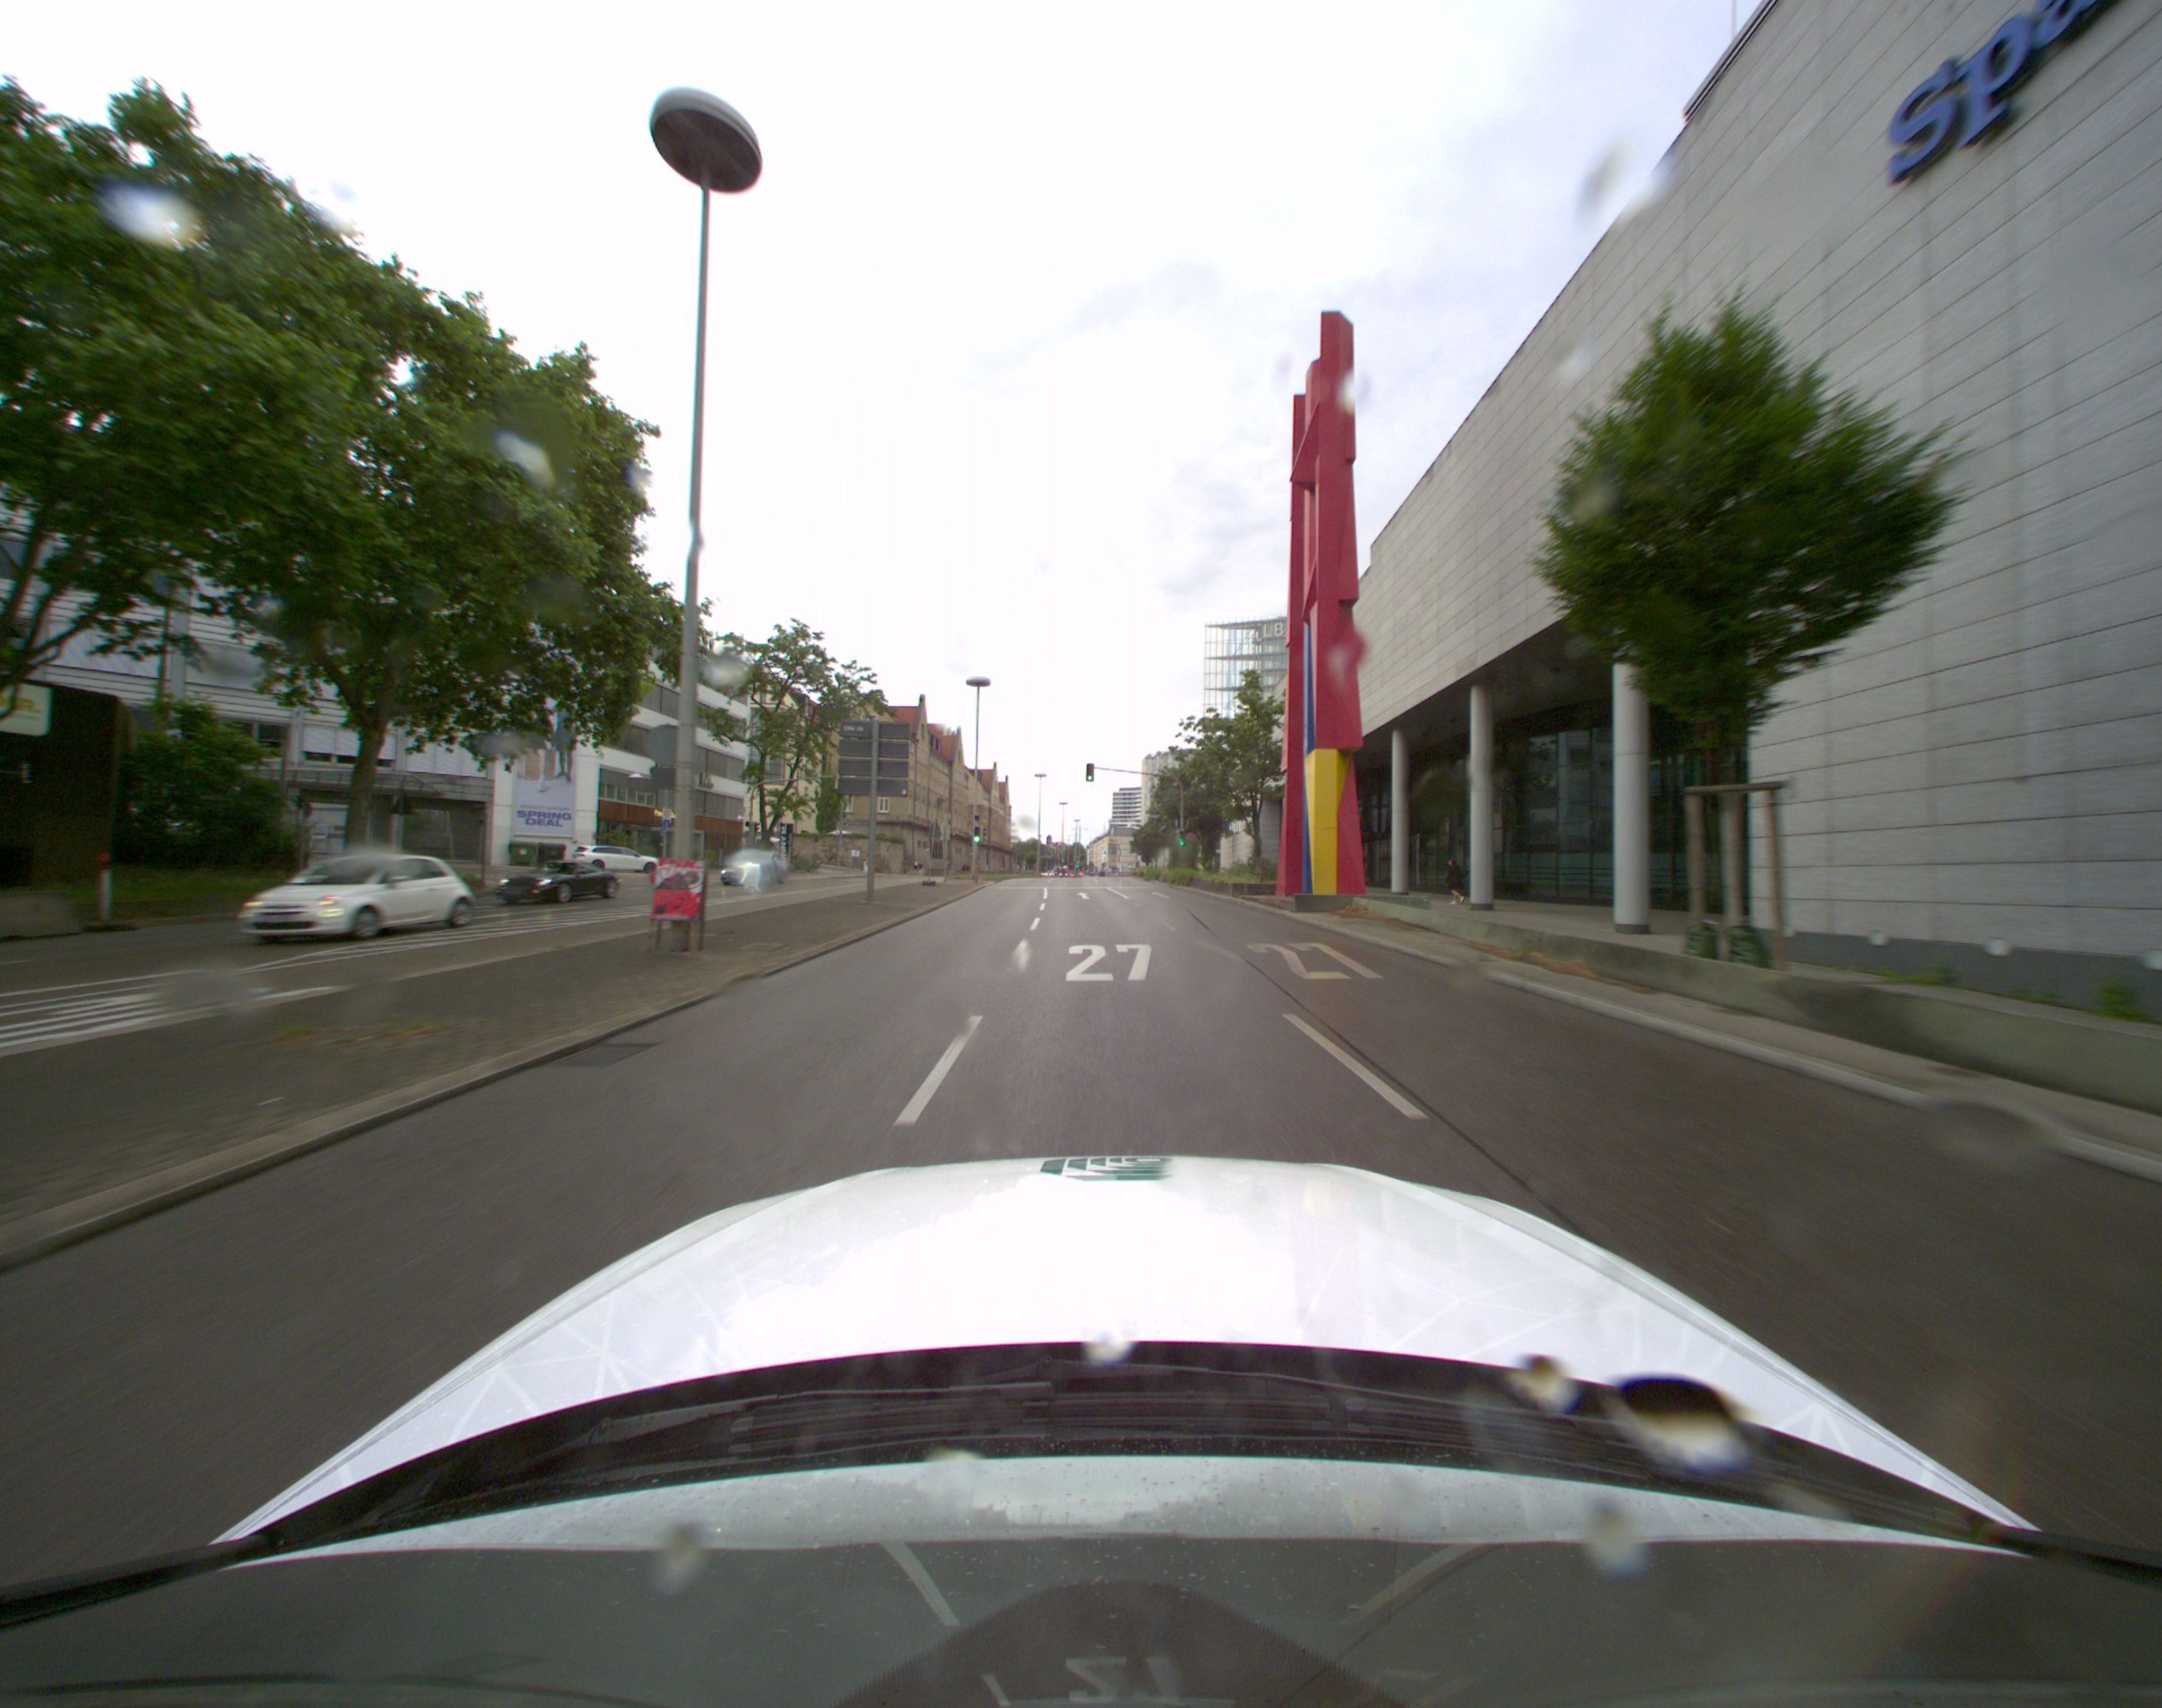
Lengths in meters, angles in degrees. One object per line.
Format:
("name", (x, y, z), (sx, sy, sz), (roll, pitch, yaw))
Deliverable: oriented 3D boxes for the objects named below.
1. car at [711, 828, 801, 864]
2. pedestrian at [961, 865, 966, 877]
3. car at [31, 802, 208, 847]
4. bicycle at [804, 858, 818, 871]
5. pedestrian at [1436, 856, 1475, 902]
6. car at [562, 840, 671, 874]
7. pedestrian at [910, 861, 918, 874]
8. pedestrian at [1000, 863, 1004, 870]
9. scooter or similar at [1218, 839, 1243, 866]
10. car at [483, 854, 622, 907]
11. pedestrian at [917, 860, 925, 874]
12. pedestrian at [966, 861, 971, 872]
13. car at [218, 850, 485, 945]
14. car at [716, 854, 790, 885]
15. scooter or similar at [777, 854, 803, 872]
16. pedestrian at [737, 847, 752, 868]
("car", (-29.192, -0.743, 73.222), (6.874, 2.275, 2.517), (7, 3, 3))
("pedestrian", (-17.222, 2.474, 119.452), (0.638, 1.746, 0.621), (0, 0, 0))
("car", (-39.322, -1.149, 33.516), (1.975, 1.465, 4.513), (2, -2, 43))
("bicycle", (-21.598, 0.865, 65.154), (0.455, 0.991, 1.759), (1, -1, 3))
("pedestrian", (13.156, 0.870, 28.628), (0.967, 1.586, 0.842), (0, 0, -2))
("car", (-26.132, 0.206, 45.919), (1.975, 1.654, 4.872), (2, -2, 41))
("pedestrian", (-18.937, 1.569, 92.143), (0.751, 1.478, 0.714), (0, 0, 2))
("pedestrian", (-15.610, 2.429, 160.281), (0.751, 1.478, 0.714), (0, 0, 2))
("scooter or similar", (8.517, -0.094, 46.477), (1.317, 1.531, 0.503), (1, 0, 4))
("car", (-16.674, 0.779, 25.973), (1.748, 1.519, 4.169), (0, 0, -1))
("pedestrian", (-18.094, 1.464, 92.118), (0.751, 1.478, 0.714), (0, 0, 2))
("pedestrian", (-17.219, 1.931, 124.806), (0.638, 1.746, 0.621), (0, 0, 0))
("car", (-13.172, 0.705, 15.055), (1.751, 1.519, 3.734), (0, 0, -5))
("car", (-16.318, 0.716, 40.806), (1.989, 1.447, 4.875), (0, 0, -3))
("scooter or similar", (-21.771, 0.654, 60.894), (1.759, 1.247, 0.367), (4, -3, -27))
("pedestrian", (-26.430, 0.280, 64.010), (0.765, 1.641, 0.842), (0, 0, 2))
